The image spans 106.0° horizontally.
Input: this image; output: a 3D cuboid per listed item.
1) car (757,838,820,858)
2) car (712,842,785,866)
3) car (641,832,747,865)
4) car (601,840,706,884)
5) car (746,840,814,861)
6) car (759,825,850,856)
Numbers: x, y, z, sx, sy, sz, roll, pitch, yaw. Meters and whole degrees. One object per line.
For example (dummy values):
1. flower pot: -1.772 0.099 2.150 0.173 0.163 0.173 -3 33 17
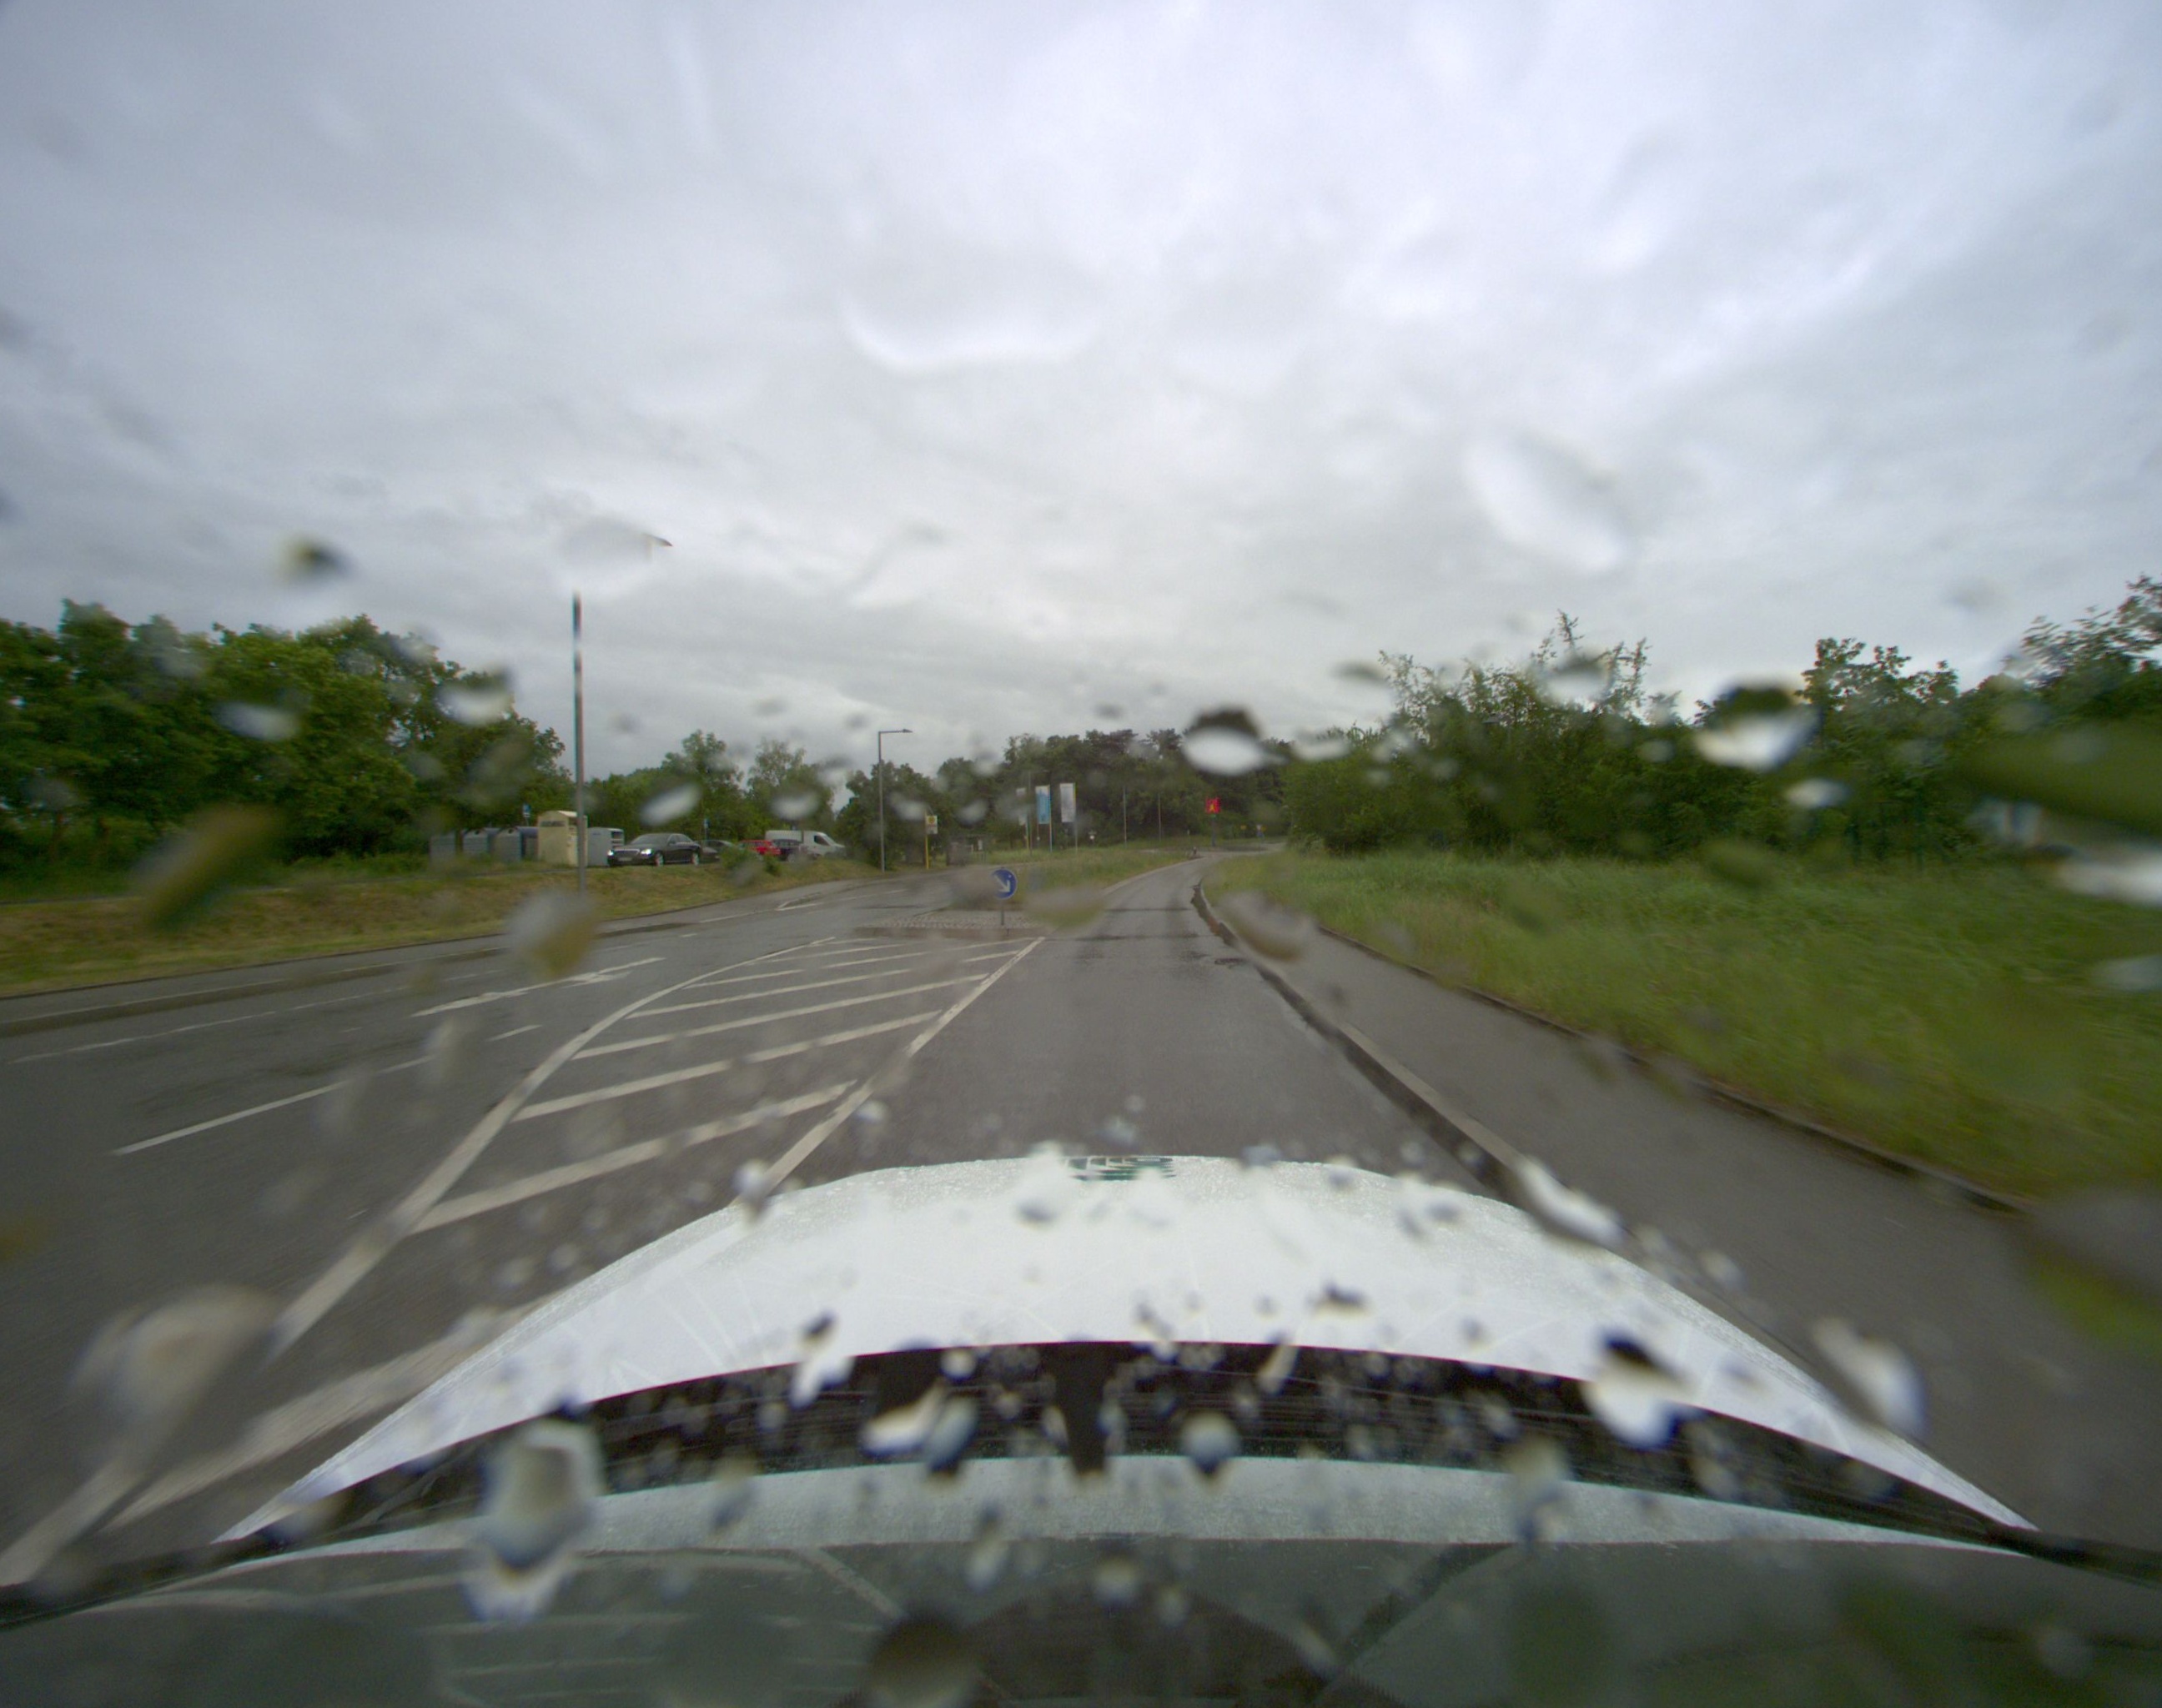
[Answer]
1. car: -21.373 -0.441 59.535 3.968 1.364 1.655 1 0 5
2. car: -21.974 -0.014 53.903 3.970 1.469 1.850 -2 0 3
3. car: -20.576 -0.282 43.463 4.686 1.693 2.006 0 0 3
4. car: -17.305 0.256 33.218 1.684 1.568 4.545 1 2 3
5. car: -21.083 -0.259 57.084 3.968 1.364 1.850 -1 0 5
6. car: -21.983 -1.068 64.908 6.535 2.397 2.138 0 -1 -1
